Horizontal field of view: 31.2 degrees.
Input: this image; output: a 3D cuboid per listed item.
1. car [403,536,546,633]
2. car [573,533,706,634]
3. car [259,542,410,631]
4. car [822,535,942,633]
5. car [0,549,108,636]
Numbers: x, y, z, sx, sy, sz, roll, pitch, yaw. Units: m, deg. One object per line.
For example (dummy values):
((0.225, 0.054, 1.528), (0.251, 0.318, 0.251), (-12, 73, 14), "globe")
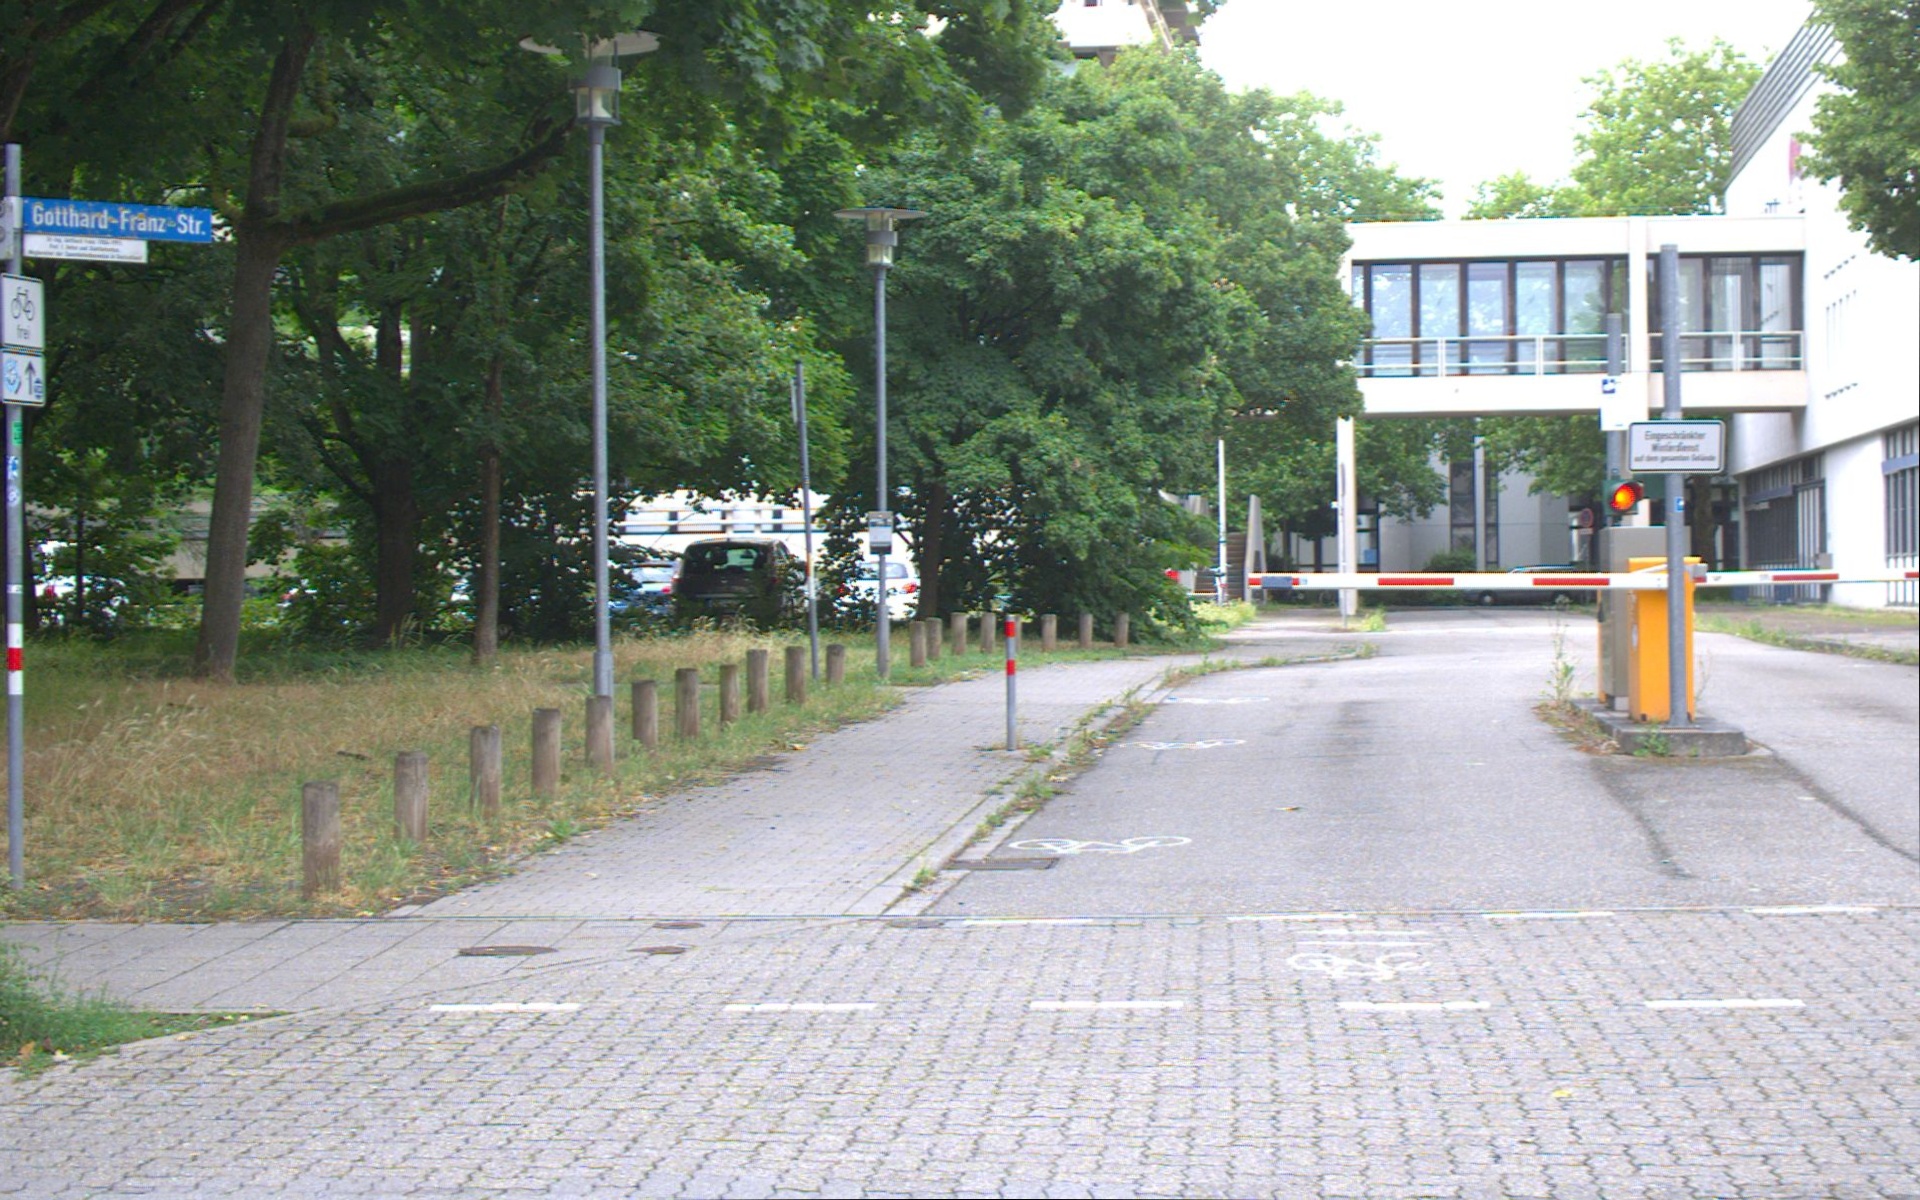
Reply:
((-9.125, -0.267, 64.844), (1.993, 1.722, 3.999), (-1, -1, 2), "car")
((-6.003, -0.275, 64.825), (1.993, 1.788, 3.999), (-1, -1, 2), "car")
((-11.823, -0.259, 65.216), (1.993, 1.612, 4.000), (-1, 0, 2), "car")
((-1.428, -0.285, 64.375), (1.993, 1.756, 4.000), (-1, 0, 2), "car")
((-17.944, -0.147, 66.268), (1.917, 1.612, 4.000), (-1, 0, 2), "car")
